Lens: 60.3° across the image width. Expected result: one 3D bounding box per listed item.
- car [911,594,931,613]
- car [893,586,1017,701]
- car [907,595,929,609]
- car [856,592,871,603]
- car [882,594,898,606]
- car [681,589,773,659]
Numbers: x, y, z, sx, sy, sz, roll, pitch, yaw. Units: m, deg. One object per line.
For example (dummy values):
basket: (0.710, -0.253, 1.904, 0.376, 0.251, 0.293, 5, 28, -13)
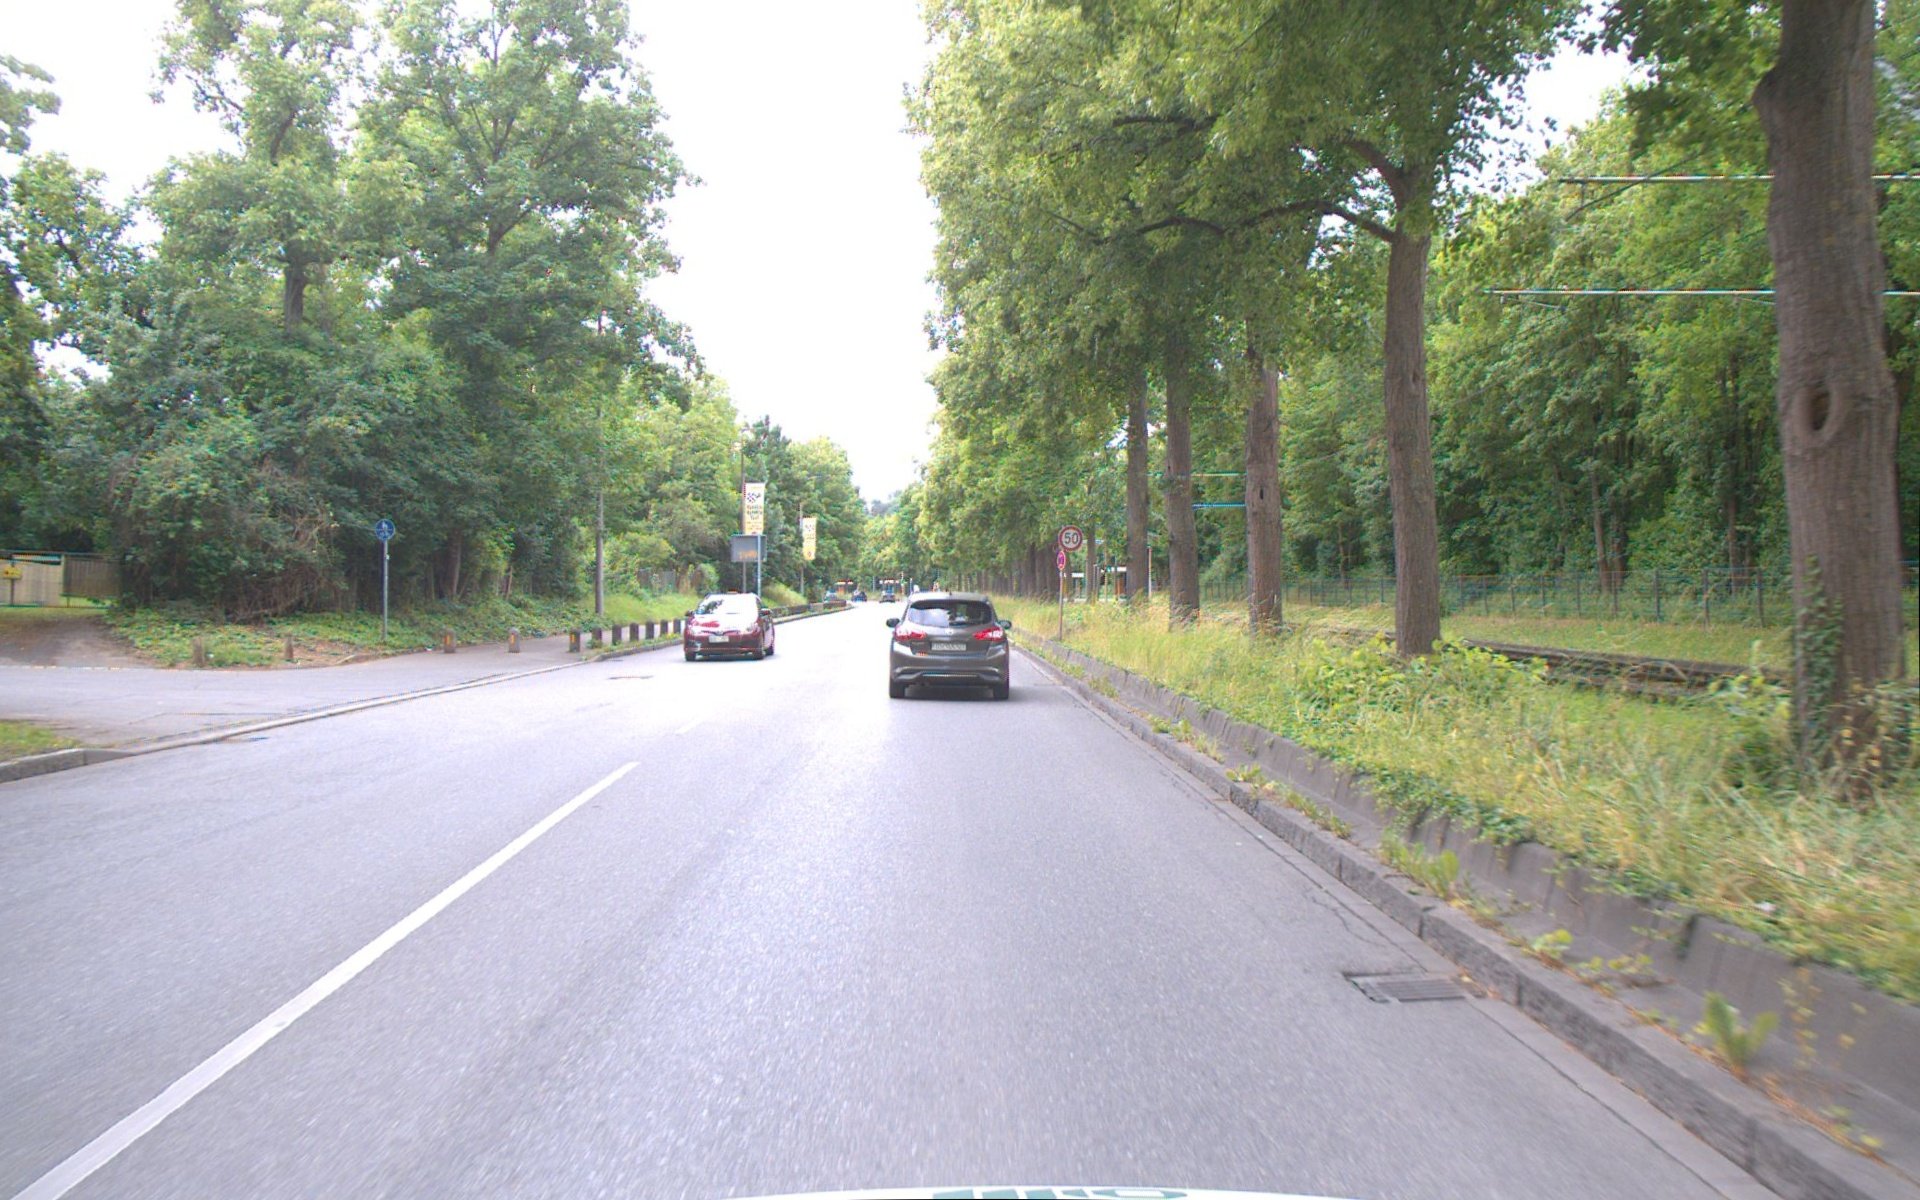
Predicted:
car: (-3.184, 0.261, 134.838, 1.529, 1.466, 3.551, 1, 0, 0)
car: (-0.122, 0.596, 24.839, 1.695, 1.564, 3.550, 1, 0, -2)
car: (-4.434, 0.205, 175.727, 1.536, 1.466, 3.537, 1, 0, -15)
car: (-14.179, -0.344, 243.110, 1.535, 1.466, 3.539, 1, 0, -14)
car: (-8.947, -0.046, 210.174, 1.533, 1.466, 3.542, 1, 0, -11)
car: (-5.235, 0.514, 37.563, 1.682, 1.453, 4.194, -1, 0, -3)
